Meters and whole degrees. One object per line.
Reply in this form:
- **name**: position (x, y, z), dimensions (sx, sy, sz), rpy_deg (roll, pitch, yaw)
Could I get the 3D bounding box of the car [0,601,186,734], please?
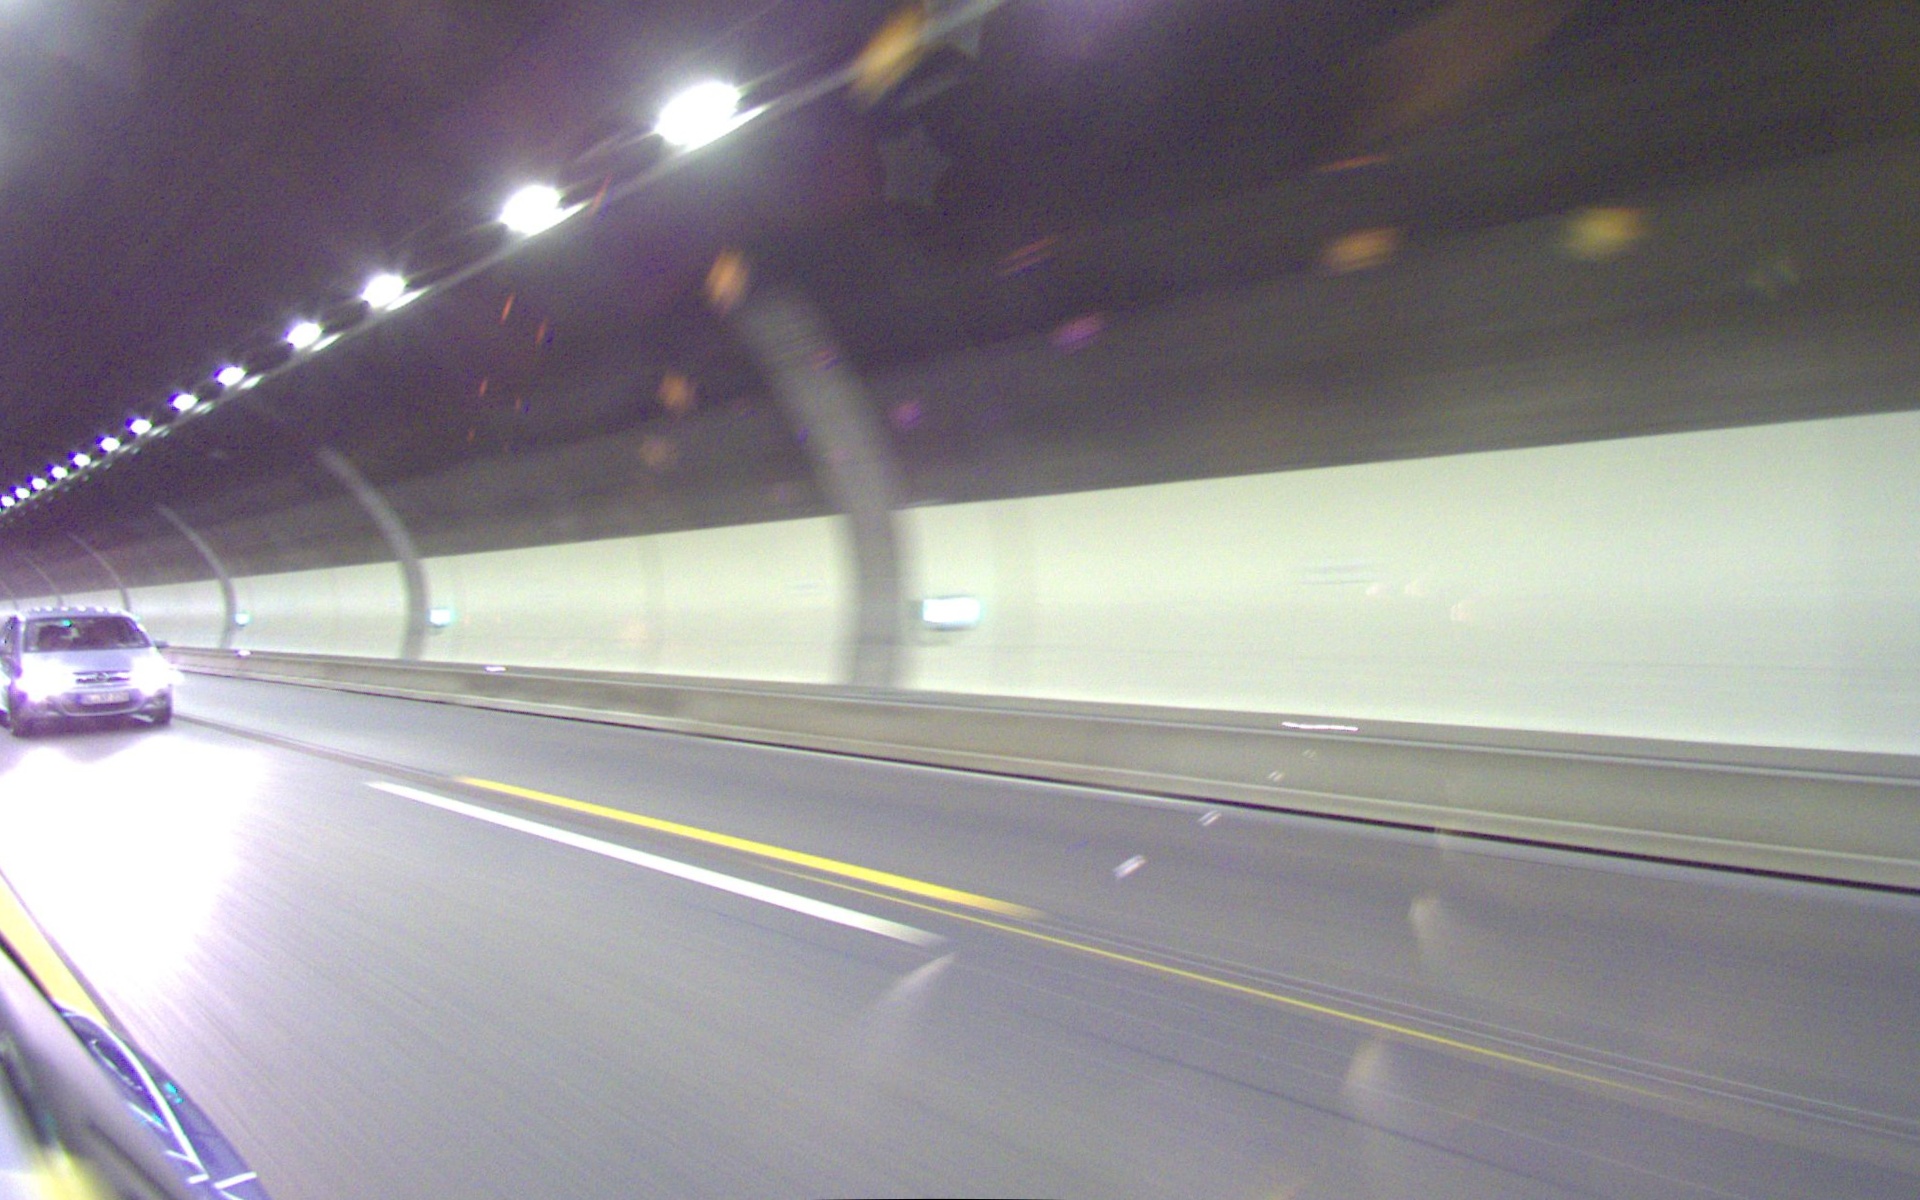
- **car**: position (-12.466, 0.836, 14.295), dimensions (4.097, 1.584, 1.743), rpy_deg (-1, 0, 43)
